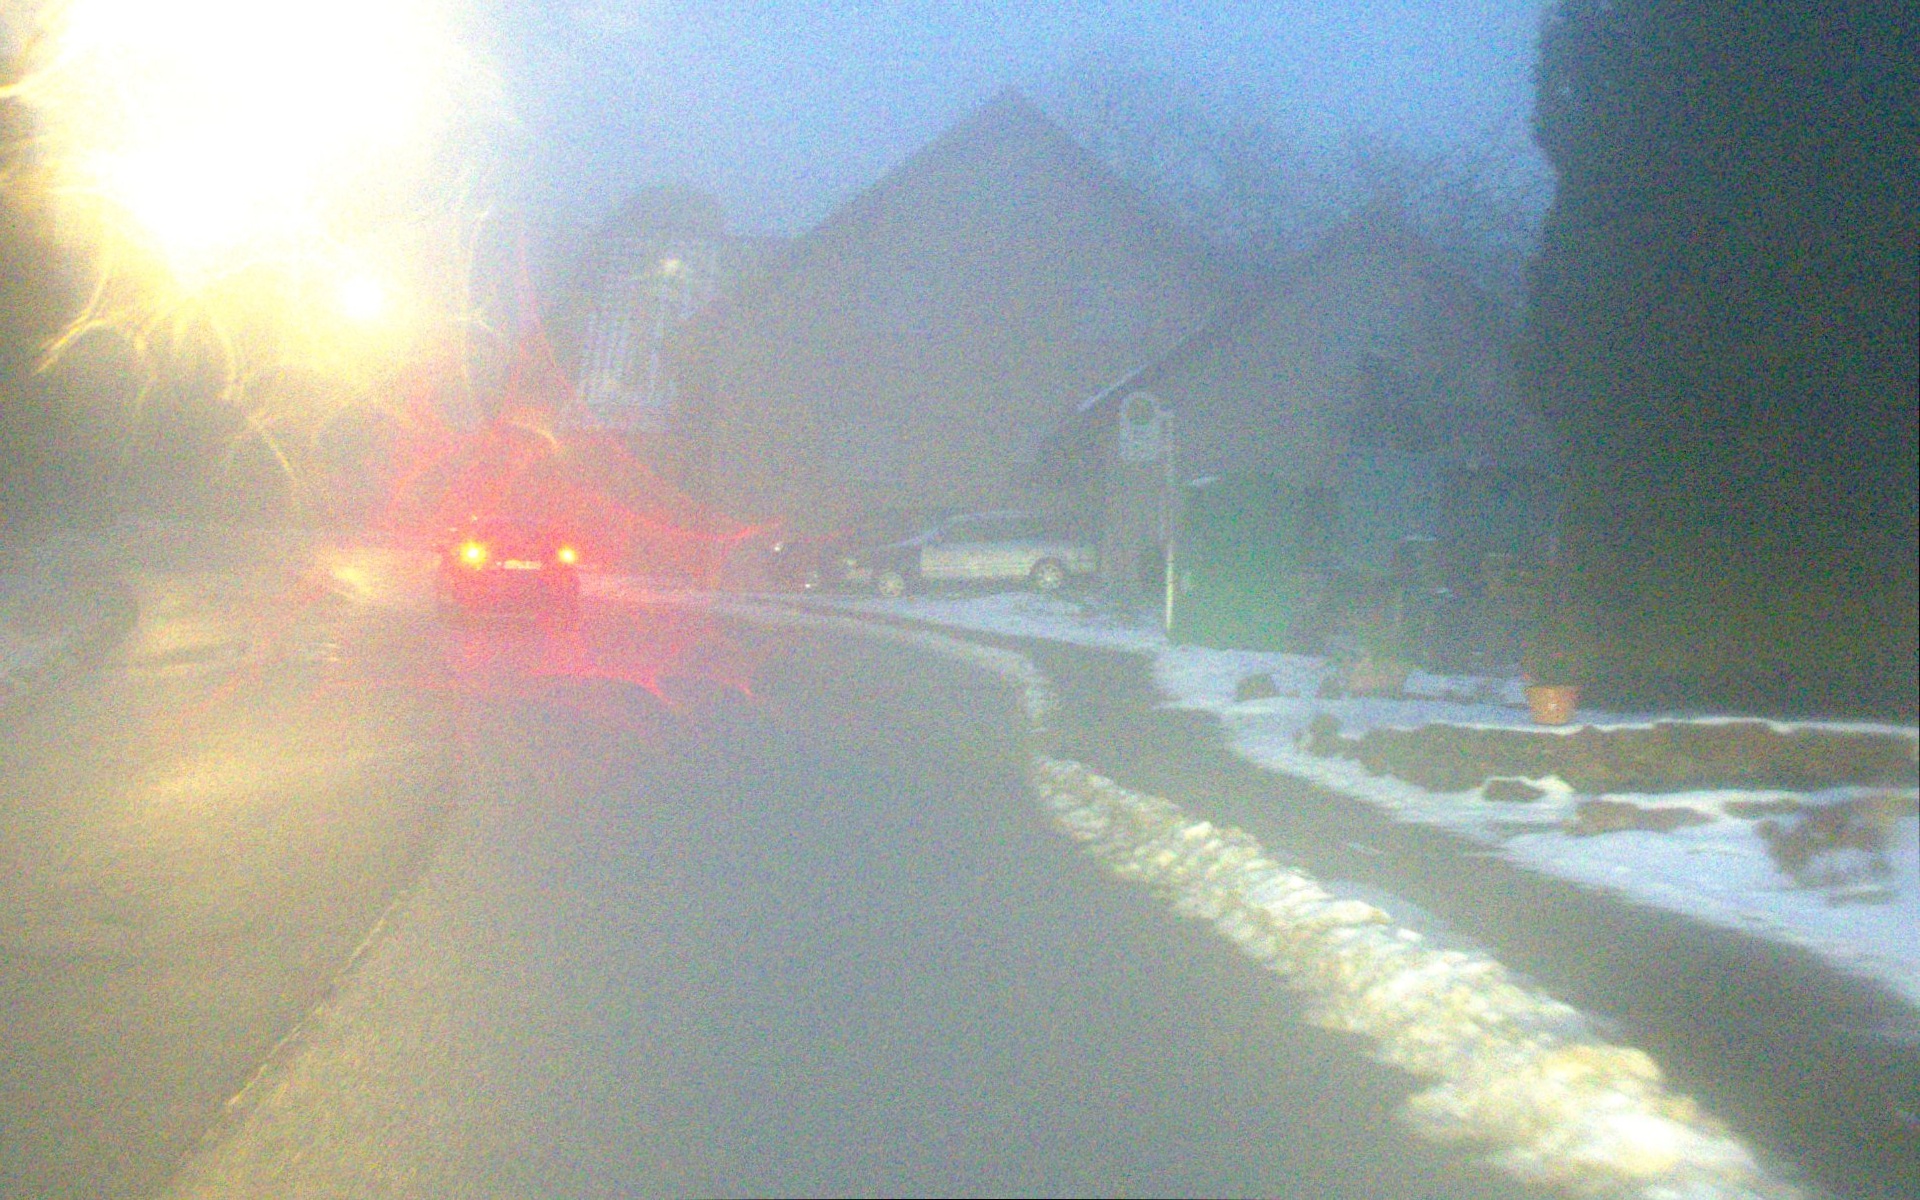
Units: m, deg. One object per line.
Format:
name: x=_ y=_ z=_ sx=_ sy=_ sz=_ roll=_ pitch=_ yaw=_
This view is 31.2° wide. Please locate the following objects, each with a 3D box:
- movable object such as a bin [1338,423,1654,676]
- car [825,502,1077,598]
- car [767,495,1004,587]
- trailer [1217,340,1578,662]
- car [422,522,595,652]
movable object such as a bin: x=5.657 y=-0.526 z=36.934 sx=2.387 sy=2.460 sz=4.516 roll=2 pitch=0 yaw=-3
car: x=-0.142 y=-0.848 z=59.096 sx=4.242 sy=1.554 sz=2.000 roll=0 pitch=-1 yaw=0
car: x=-1.370 y=-1.055 z=62.007 sx=4.157 sy=1.554 sz=1.946 roll=0 pitch=-1 yaw=-5
trailer: x=5.161 y=-1.144 z=41.517 sx=2.874 sy=3.548 sz=5.063 roll=2 pitch=0 yaw=-9
car: x=-6.419 y=-0.146 z=48.597 sx=1.993 sy=1.731 sz=3.879 roll=1 pitch=-1 yaw=-14
